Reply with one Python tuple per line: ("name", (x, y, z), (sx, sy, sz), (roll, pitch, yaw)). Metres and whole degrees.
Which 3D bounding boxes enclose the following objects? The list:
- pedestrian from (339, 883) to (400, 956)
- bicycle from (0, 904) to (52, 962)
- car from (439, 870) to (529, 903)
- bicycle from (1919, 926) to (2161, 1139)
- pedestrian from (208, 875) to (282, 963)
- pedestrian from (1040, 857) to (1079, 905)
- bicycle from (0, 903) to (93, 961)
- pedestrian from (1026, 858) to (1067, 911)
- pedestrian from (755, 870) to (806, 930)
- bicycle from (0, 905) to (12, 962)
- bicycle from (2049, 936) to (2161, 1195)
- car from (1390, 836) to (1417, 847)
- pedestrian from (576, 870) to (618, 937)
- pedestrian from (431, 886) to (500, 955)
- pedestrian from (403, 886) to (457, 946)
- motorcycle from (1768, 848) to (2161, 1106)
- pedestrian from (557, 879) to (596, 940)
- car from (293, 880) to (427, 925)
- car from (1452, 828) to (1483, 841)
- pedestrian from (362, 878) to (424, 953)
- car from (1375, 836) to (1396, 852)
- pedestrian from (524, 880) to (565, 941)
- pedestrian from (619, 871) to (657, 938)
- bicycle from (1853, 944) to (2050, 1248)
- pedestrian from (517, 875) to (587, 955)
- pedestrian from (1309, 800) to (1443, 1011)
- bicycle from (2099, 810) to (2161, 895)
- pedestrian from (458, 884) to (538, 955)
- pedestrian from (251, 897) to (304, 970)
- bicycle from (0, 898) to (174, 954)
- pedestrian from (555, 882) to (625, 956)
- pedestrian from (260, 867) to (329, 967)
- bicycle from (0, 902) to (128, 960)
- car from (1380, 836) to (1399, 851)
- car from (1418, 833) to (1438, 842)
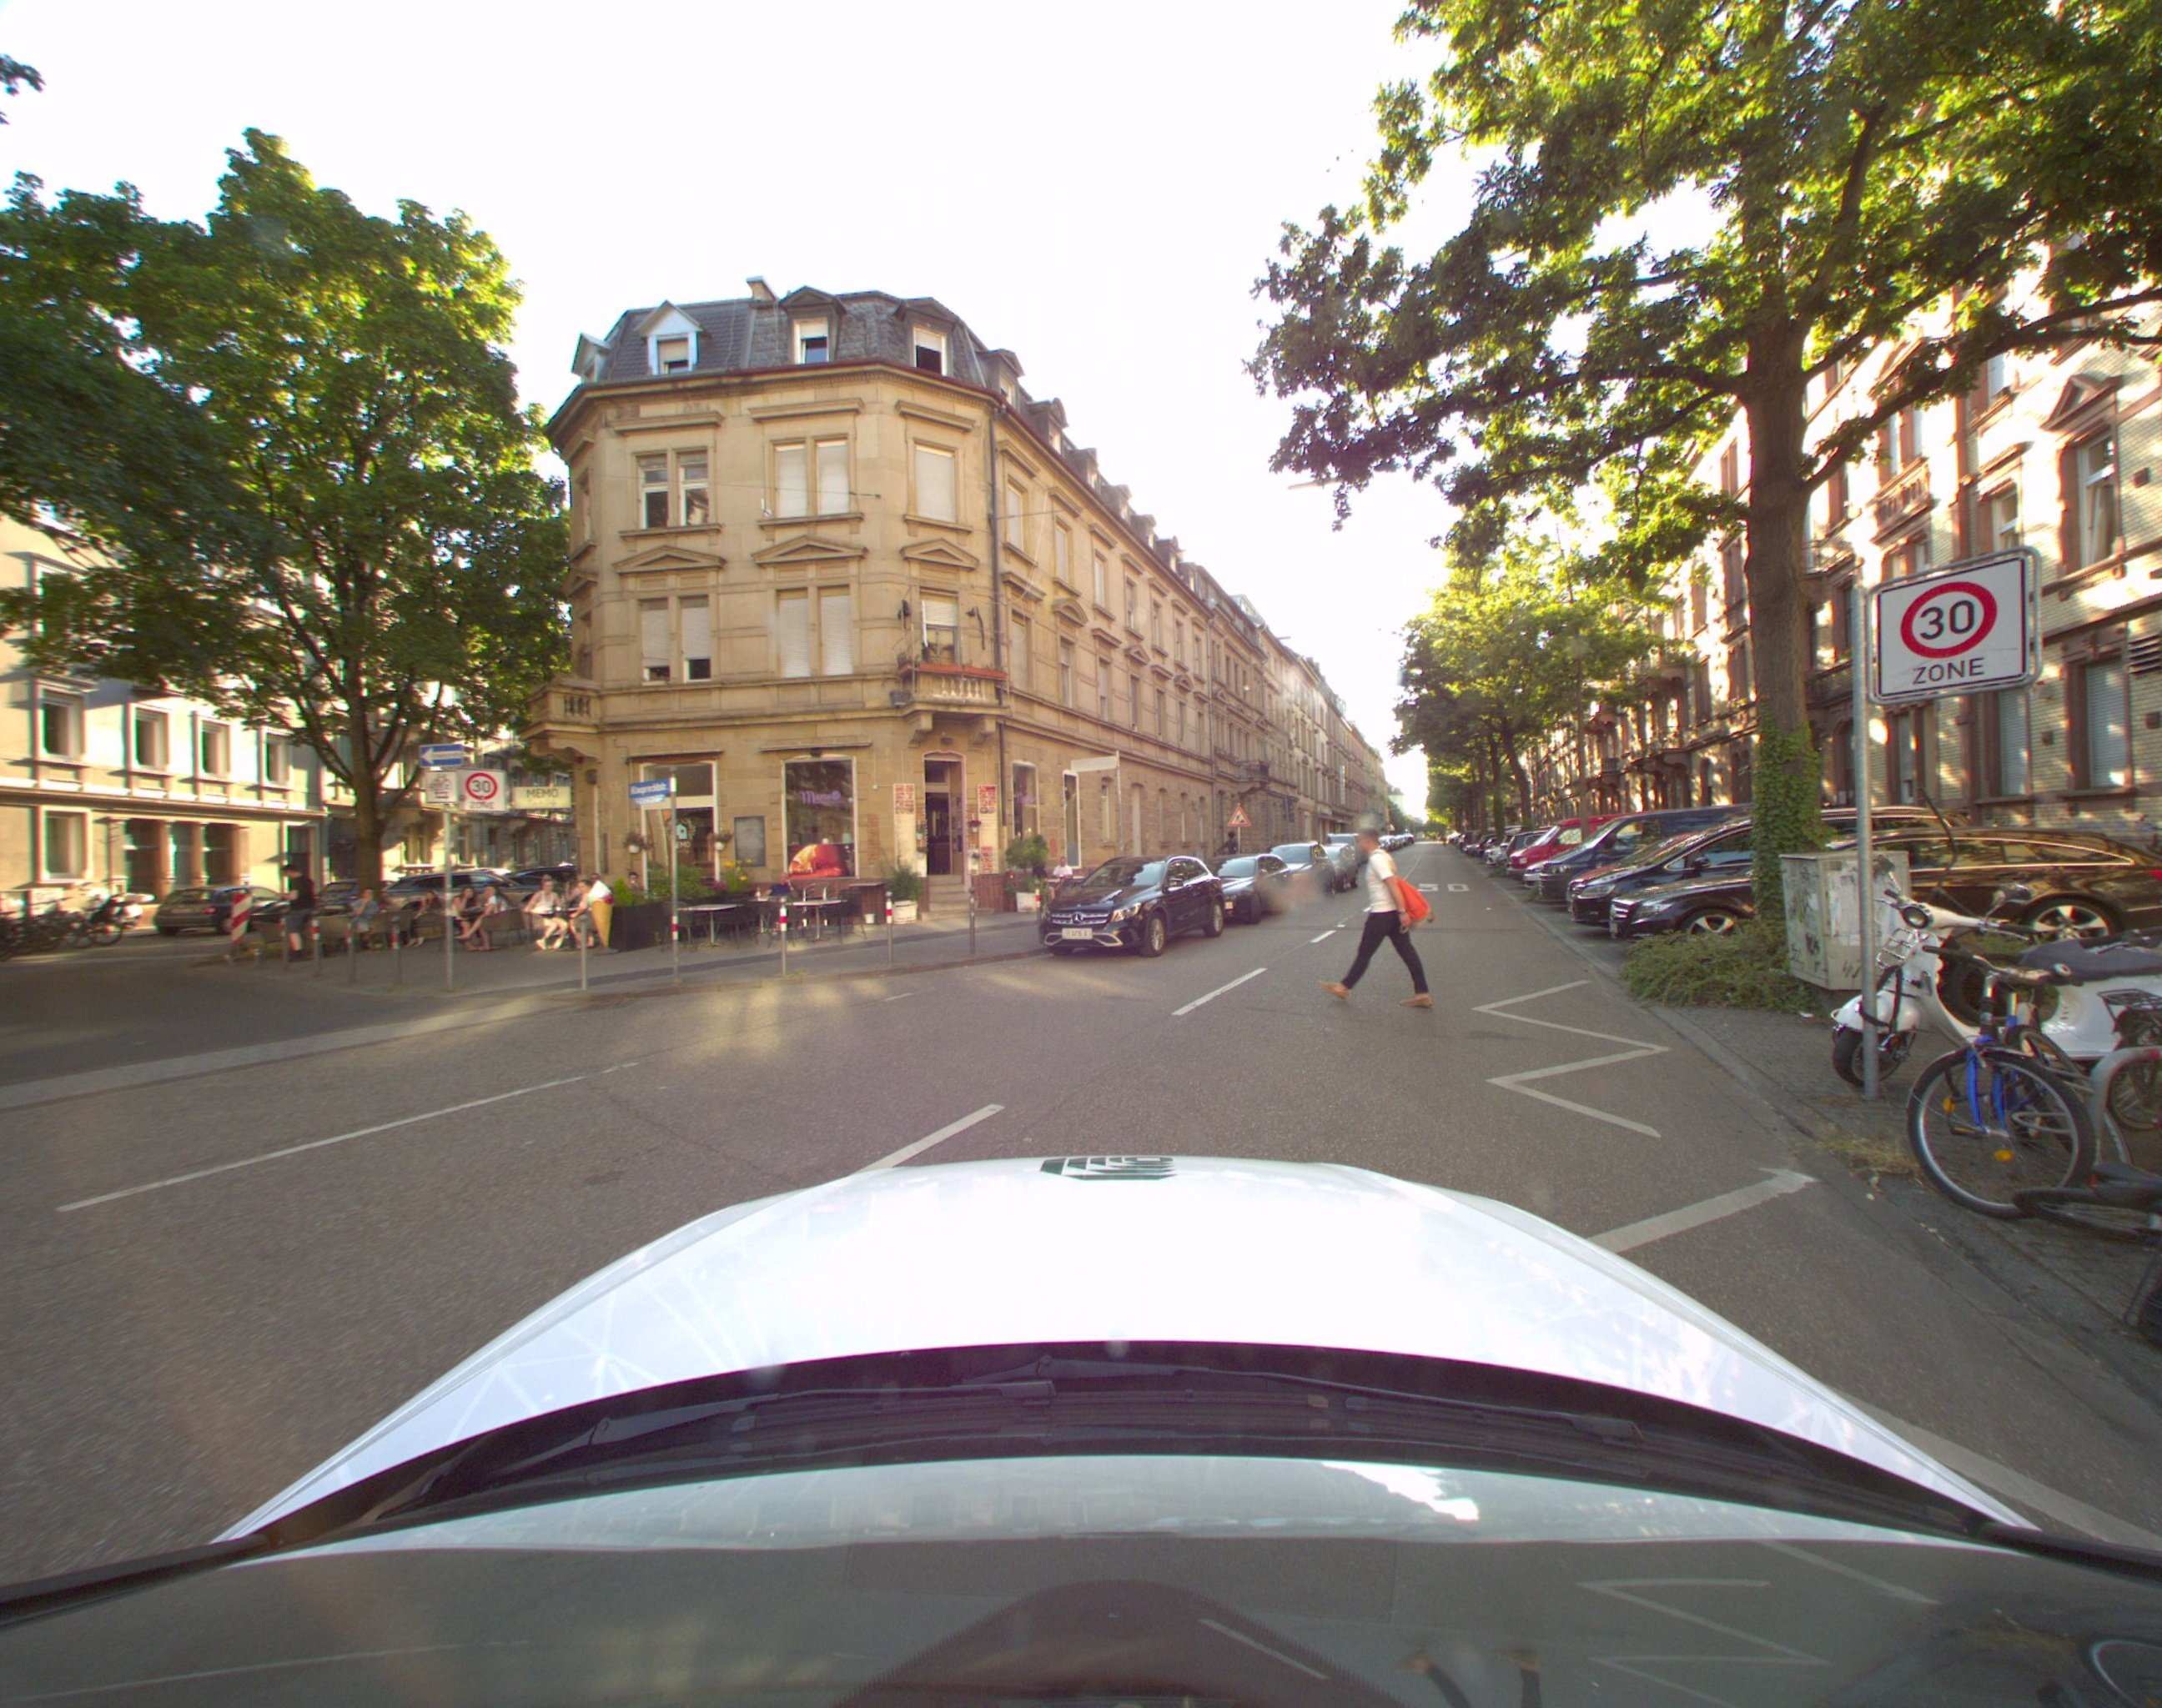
("pedestrian", (-14.921, 1.353, 17.083), (0.659, 1.441, 0.772), (-4, 0, 36))
("bicycle", (-24.303, 1.763, 17.378), (3.128, 1.180, 0.749), (-2, 0, -12))
("car", (-28.100, 1.506, 38.512), (1.923, 1.376, 3.738), (-2, 0, -10))
("bicycle", (5.279, 0.810, 3.760), (1.913, 0.927, 0.356), (-5, -2, 23))
("pedestrian", (-16.737, 1.284, 16.313), (0.660, 1.669, 0.771), (-4, 0, 22))
("pedestrian", (-0.564, 0.703, 21.310), (0.719, 1.214, 0.761), (-2, 0, 22))
("bicycle", (-24.401, 1.790, 18.216), (3.128, 1.180, 0.749), (-2, 0, -12))
("pedestrian", (-0.856, 0.747, 20.172), (0.719, 1.259, 0.761), (-2, 0, 22))
("pedestrian", (-6.424, 0.980, 17.435), (0.722, 1.214, 0.758), (-2, 0, 5))
("bicycle", (-24.146, 1.737, 16.585), (3.128, 1.180, 0.749), (-2, 0, -12))
("bicycle", (4.266, 0.851, 3.010), (0.350, 0.927, 1.535), (-5, -2, 31))
("car", (50.689, -1.965, 127.830), (4.016, 1.486, 1.979), (-1, -2, -34))
("pedestrian", (-10.726, 1.099, 18.046), (0.564, 1.431, 0.484), (-2, 0, 13))
("pedestrian", (-11.889, 1.268, 15.749), (0.698, 1.248, 0.753), (-2, 1, 22))
("pedestrian", (-13.977, 1.328, 17.487), (0.659, 1.215, 0.682), (-4, 0, 34))
("motorcycle", (5.126, 0.646, 4.467), (1.880, 1.234, 0.690), (-5, -1, 24))
("pedestrian", (-10.606, 1.166, 17.128), (0.476, 1.248, 0.436), (-2, 0, 21))
("car", (-26.064, 1.714, 29.639), (1.923, 1.376, 3.738), (-2, 0, -10))
("car", (55.723, -2.832, 117.530), (3.816, 1.574, 1.727), (-4, 0, 23))
("pedestrian", (-14.025, 1.238, 16.605), (0.659, 1.441, 0.772), (-4, 0, 36))
("car", (31.341, -1.064, 83.783), (1.743, 1.473, 4.082), (-3, 0, 22))
("pedestrian", (-11.479, 1.204, 17.432), (0.476, 1.248, 0.513), (-2, 0, 22))
("pedestrian", (-9.345, 1.063, 17.170), (0.477, 1.367, 0.435), (-2, 0, 15))
("bicycle", (3.781, 0.934, 3.507), (1.419, 0.927, 0.350), (-3, -2, -36))
("pedestrian", (-9.829, 1.127, 15.155), (0.749, 1.411, 0.730), (-2, 0, 12))
("pedestrian", (2.888, 0.476, 7.942), (1.104, 1.898, 0.847), (-2, 0, 24))
("bicycle", (15.491, -0.027, 11.257), (0.664, 1.171, 2.608), (-5, -1, 26))
("pedestrian", (-11.046, 1.229, 15.438), (1.012, 1.248, 0.753), (-2, 1, 21))
("pedestrian", (-15.252, 1.495, 15.458), (0.498, 1.320, 0.576), (-2, 1, 34))
("bicycle", (-24.716, 1.766, 20.175), (3.128, 1.180, 0.749), (-2, 0, -12))
("pedestrian", (-9.017, 1.188, 14.977), (0.738, 1.289, 0.746), (-2, 0, 14))
("pedestrian", (-14.727, 1.160, 15.257), (0.564, 1.770, 0.772), (-4, 0, 36))
("bicycle", (-24.558, 1.818, 19.043), (3.128, 1.180, 0.749), (-2, 0, -12))
("car", (33.413, -1.113, 88.114), (1.743, 1.473, 4.082), (-3, 0, 22))
("car", (81.071, -3.826, 190.106), (3.948, 1.859, 1.762), (-1, 1, 32))
